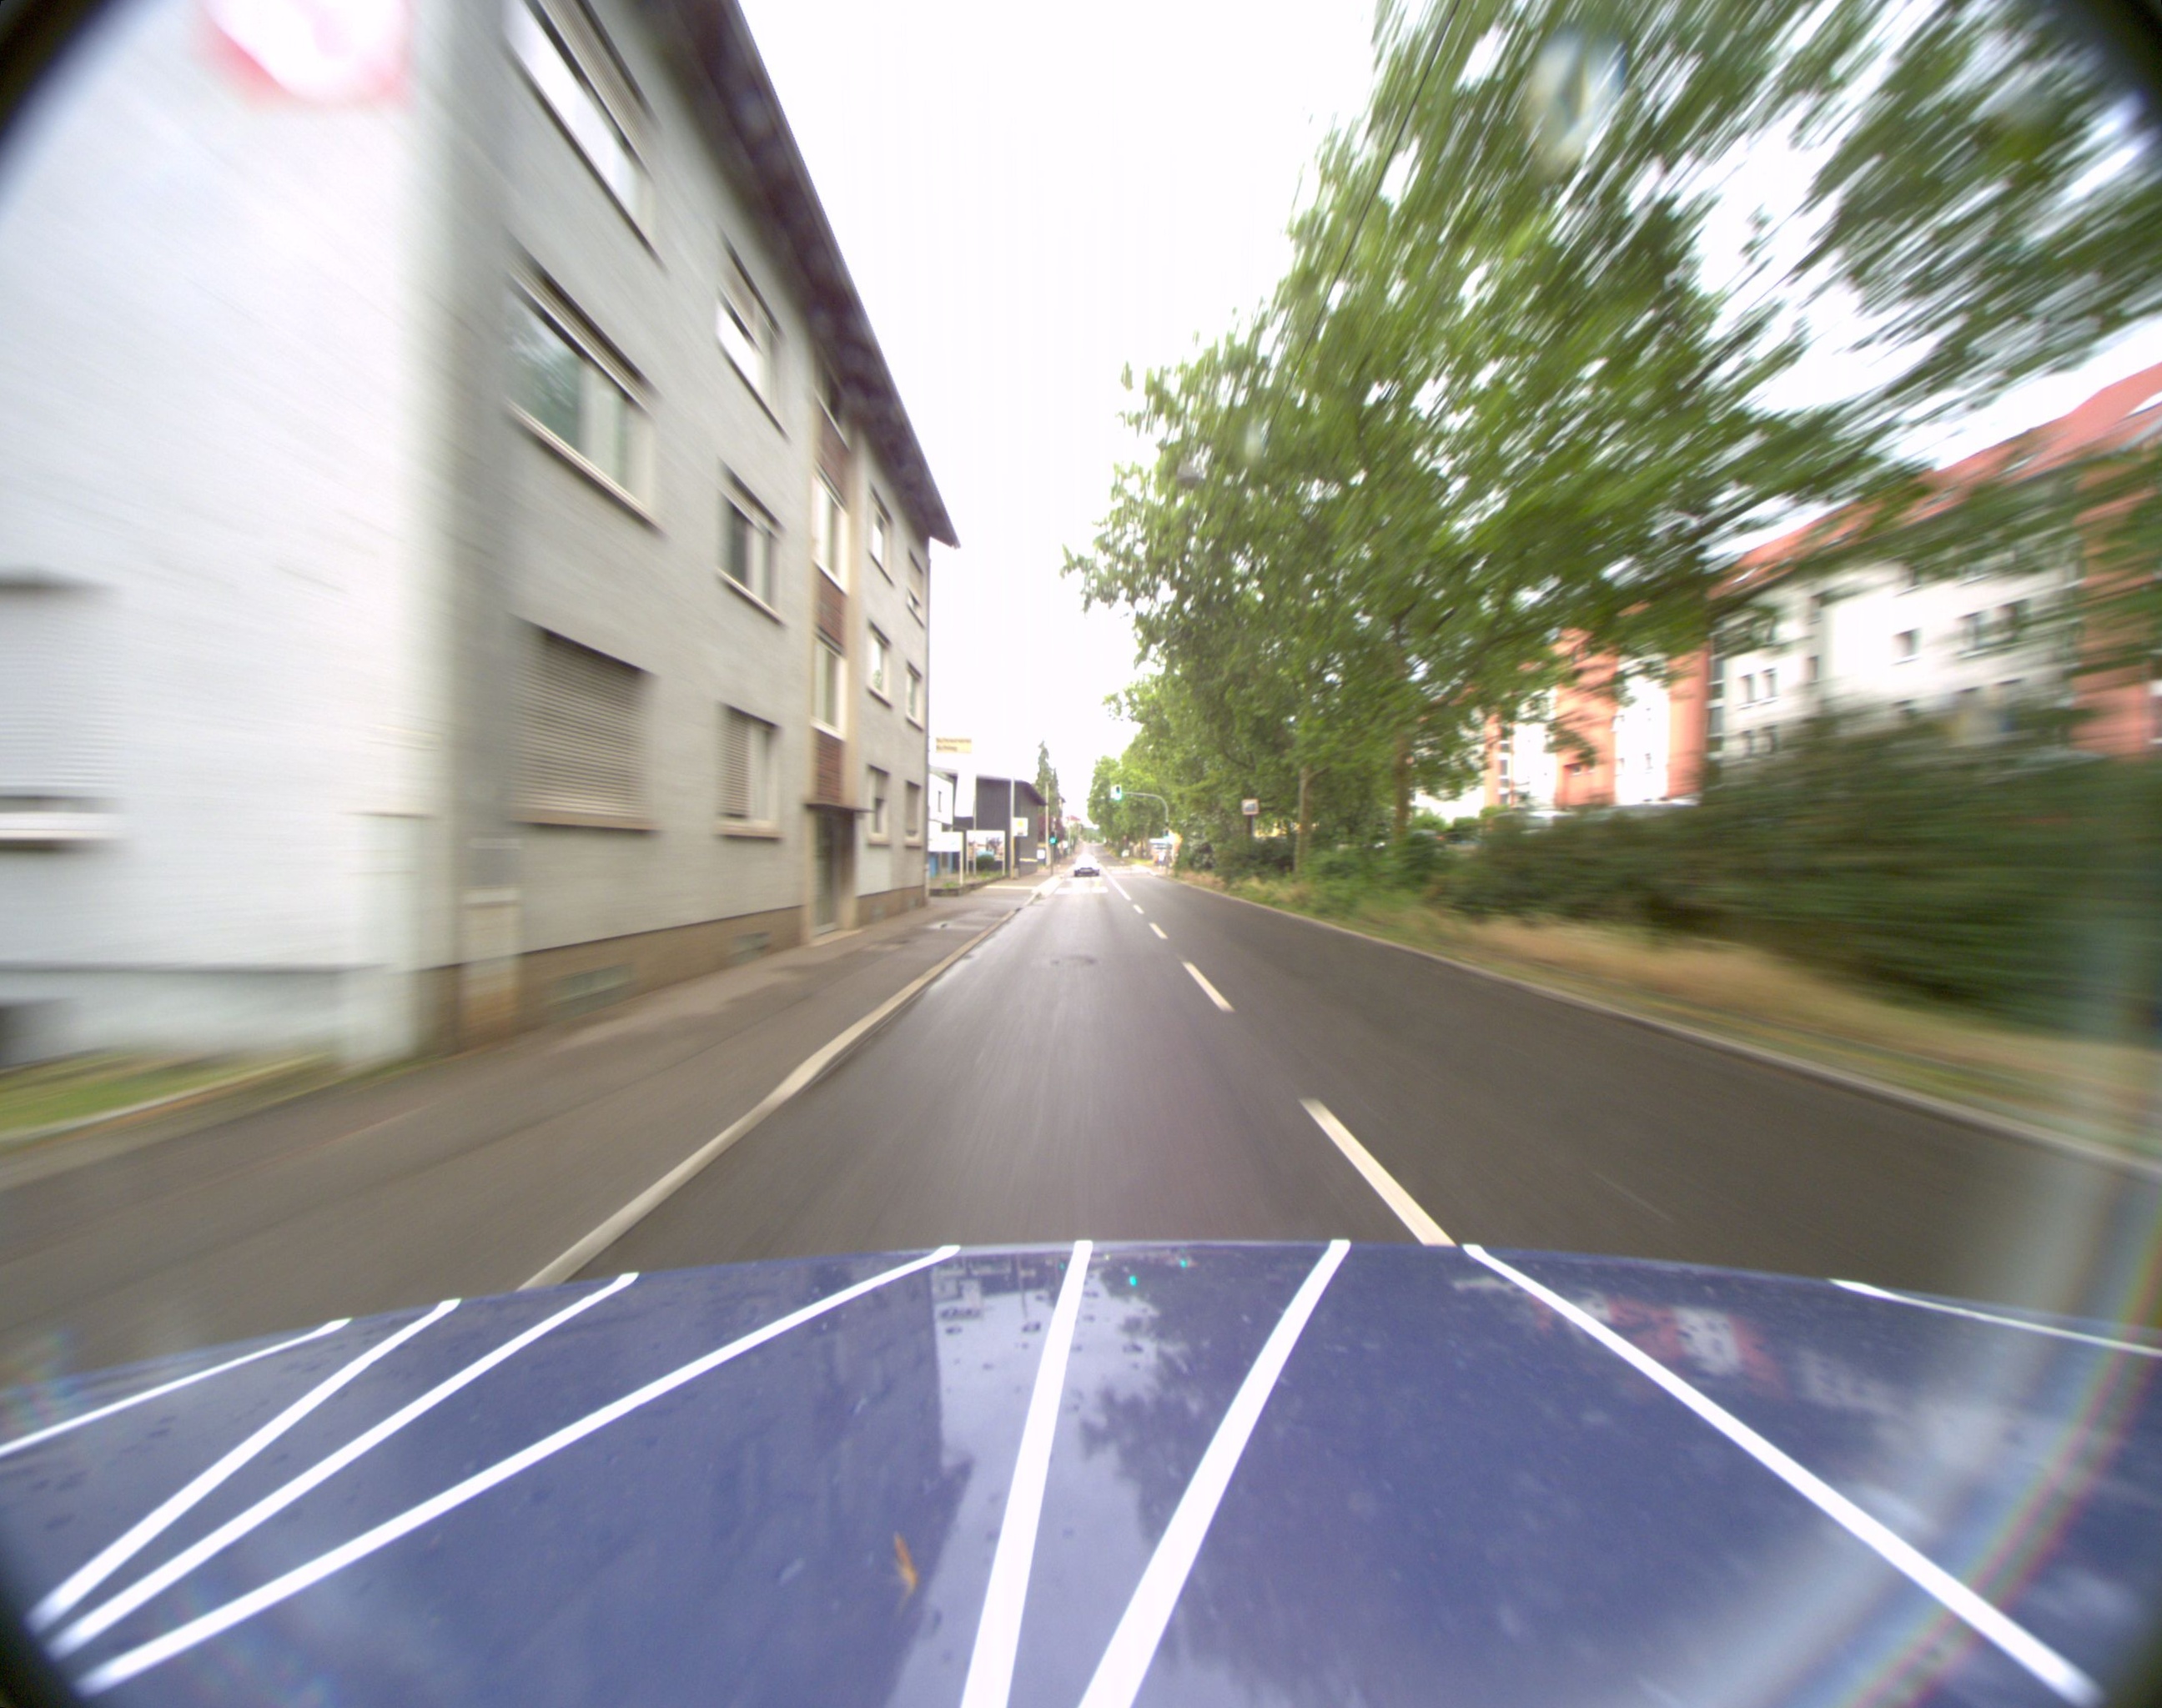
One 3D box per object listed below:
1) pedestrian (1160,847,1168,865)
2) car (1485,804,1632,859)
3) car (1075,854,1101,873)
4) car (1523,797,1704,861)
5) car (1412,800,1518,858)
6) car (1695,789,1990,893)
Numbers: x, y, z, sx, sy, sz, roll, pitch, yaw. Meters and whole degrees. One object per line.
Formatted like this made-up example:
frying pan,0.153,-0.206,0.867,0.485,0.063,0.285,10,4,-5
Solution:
pedestrian,7.544,0.176,68.784,0.648,1.674,0.631,1,1,1
car,15.782,-0.739,25.245,3.802,1.679,1.738,-2,1,-2
car,0.482,0.673,54.904,1.692,1.334,3.999,1,0,-2
car,15.771,-0.714,22.689,3.997,1.784,1.959,1,1,1
car,14.317,-0.885,28.627,1.998,2.002,4.000,0,0,1
car,15.694,-0.269,15.893,3.995,2.002,1.957,0,1,7
